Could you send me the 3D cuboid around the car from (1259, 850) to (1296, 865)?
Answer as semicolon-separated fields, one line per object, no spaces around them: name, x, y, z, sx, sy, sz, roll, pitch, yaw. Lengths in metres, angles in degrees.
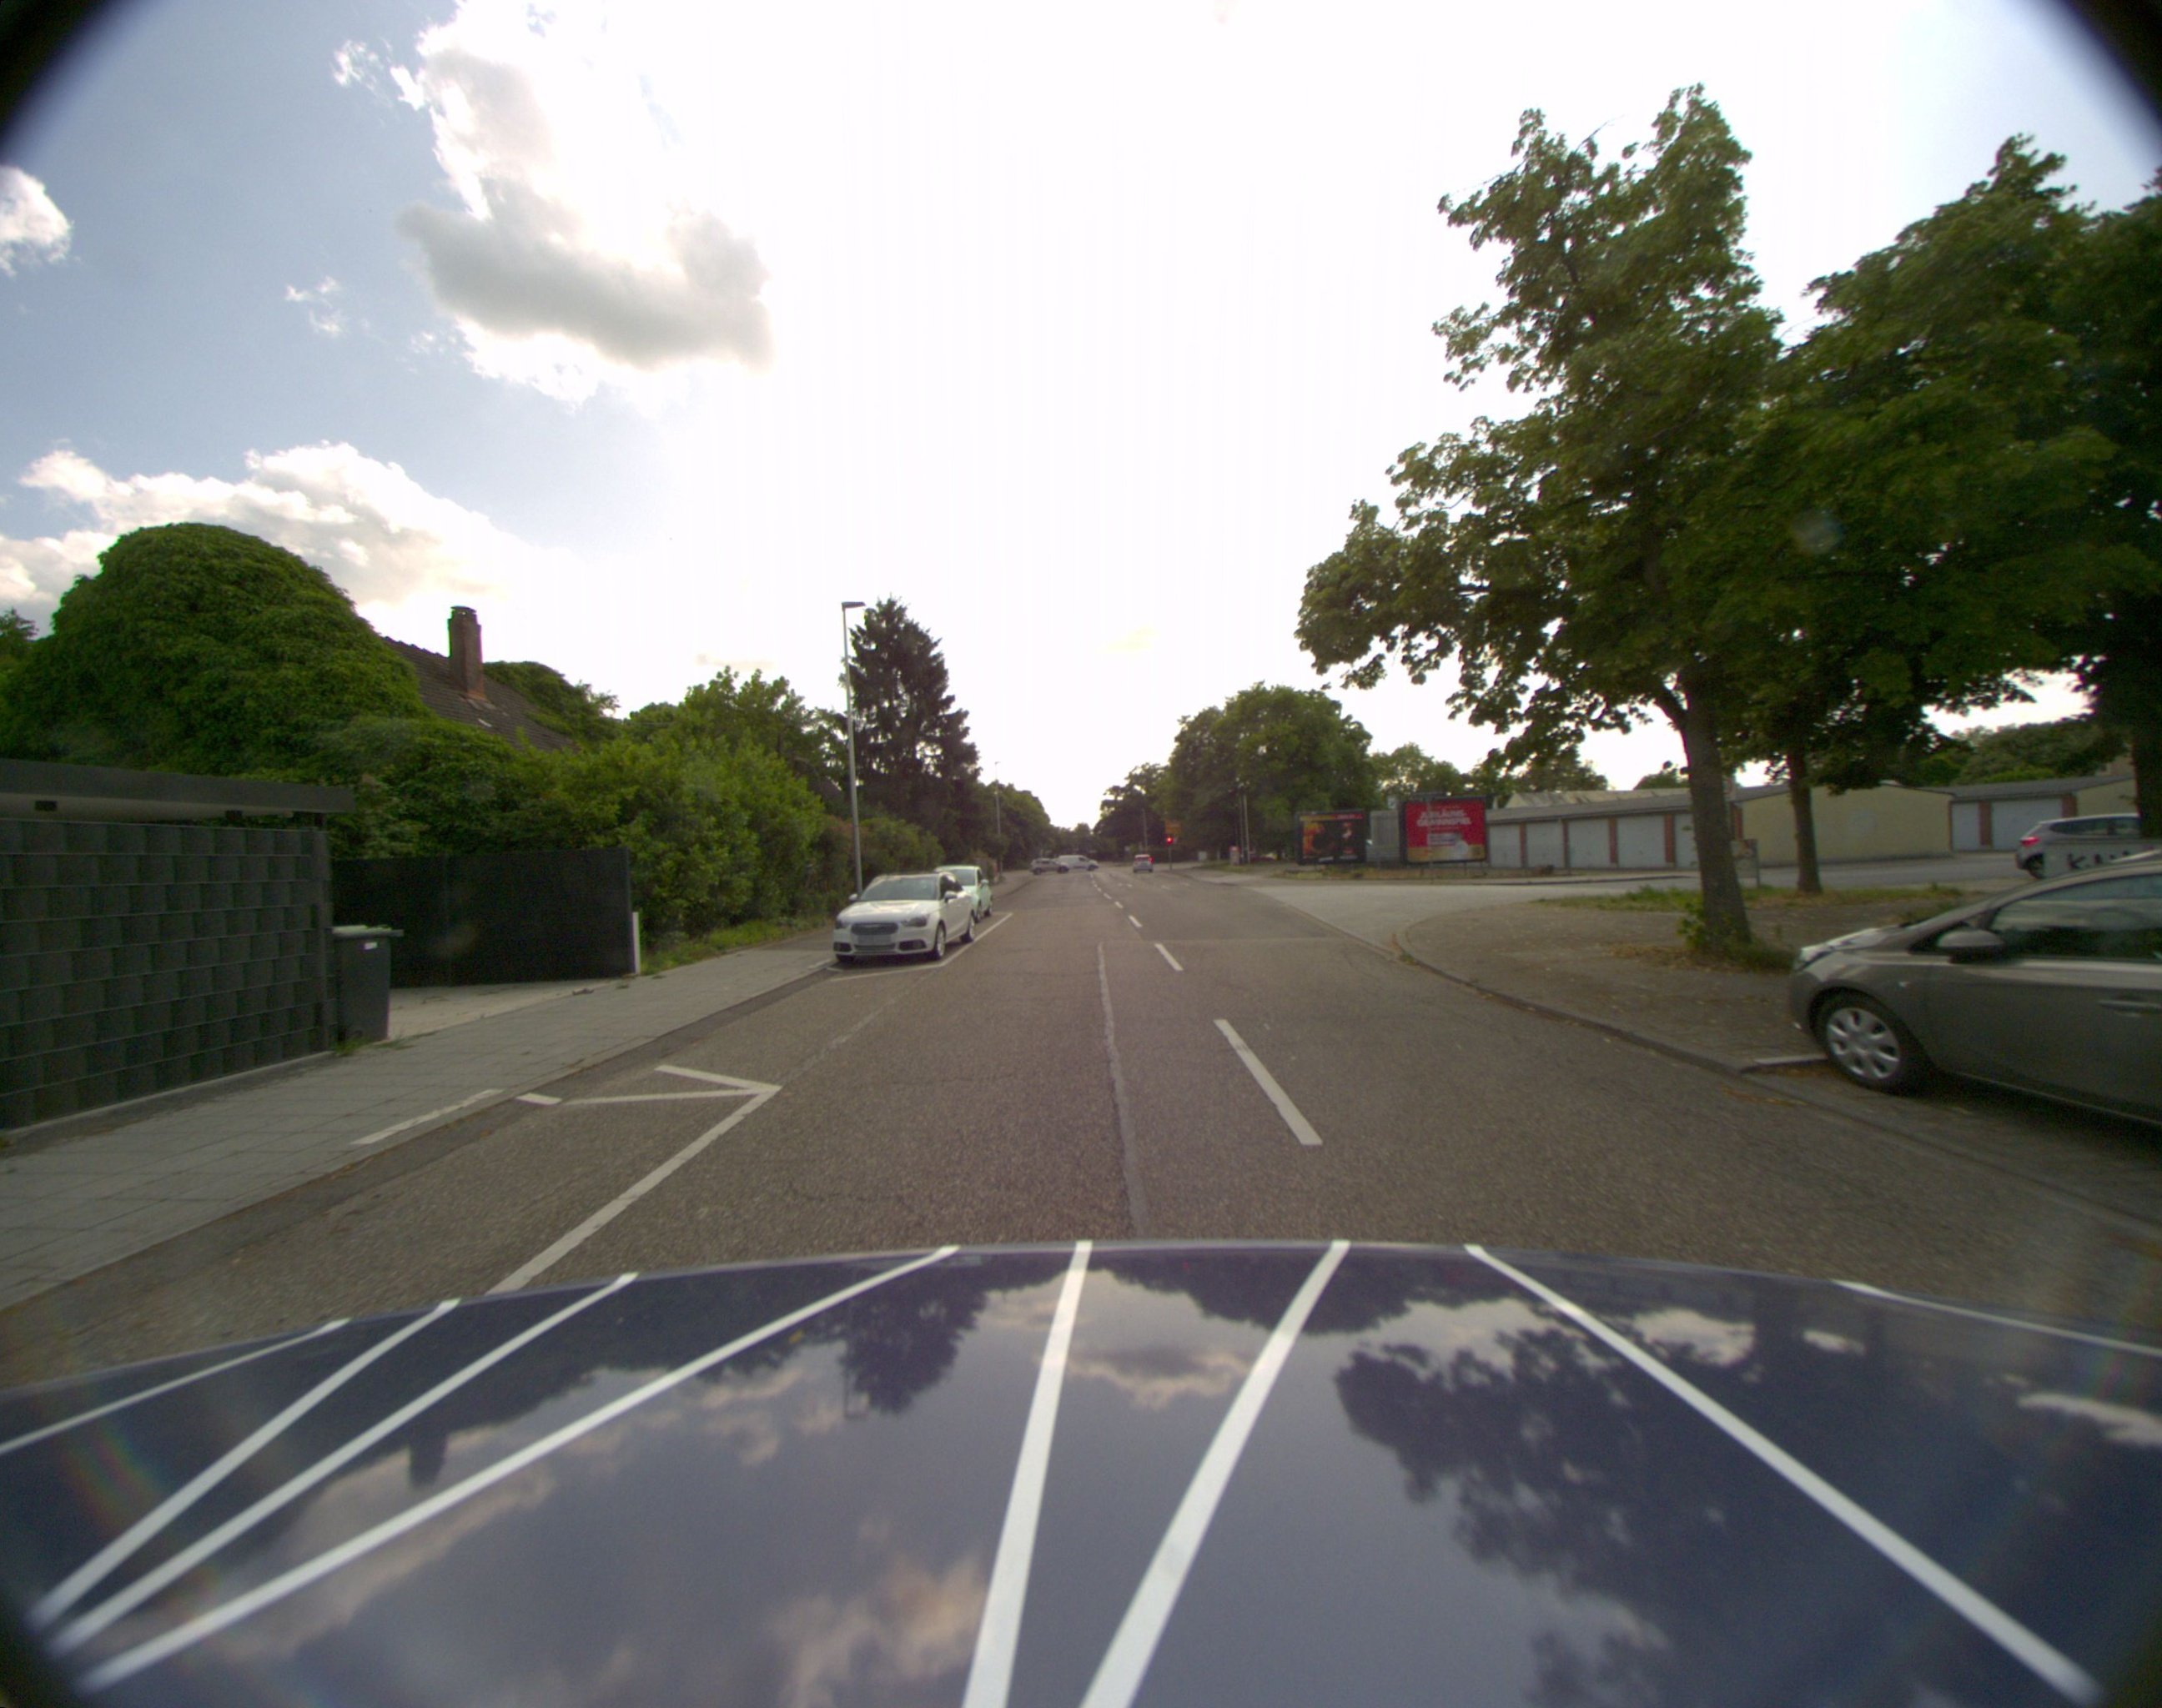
car;26.490;0.448;102.604;4.530;1.767;1.729;-3;0;5

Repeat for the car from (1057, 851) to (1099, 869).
car;-0.324;0.688;87.669;4.536;1.941;1.727;-3;0;-11

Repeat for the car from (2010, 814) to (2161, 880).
car;26.039;-0.173;18.529;1.653;1.528;3.896;-2;-2;-17

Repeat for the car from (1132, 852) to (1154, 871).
car;5.387;0.632;66.284;1.558;1.508;3.609;-2;0;1

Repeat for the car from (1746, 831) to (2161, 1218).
car;5.294;0.714;3.124;1.688;1.478;3.983;-5;1;3

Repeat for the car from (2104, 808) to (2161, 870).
car;28.736;-0.463;18.680;1.653;1.581;3.896;-2;-2;-17

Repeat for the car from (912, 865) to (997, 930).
car;-3.375;1.118;20.890;1.585;1.511;3.755;-2;0;1

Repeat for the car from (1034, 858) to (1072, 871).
car;-3.649;1.331;98.483;4.536;1.454;1.727;-3;0;-13

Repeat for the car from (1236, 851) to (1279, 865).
car;20.517;0.439;88.297;4.536;1.454;1.726;-2;2;-13

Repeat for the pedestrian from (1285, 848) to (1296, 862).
pedestrian;23.453;0.060;85.075;0.761;1.523;0.726;-3;0;-28

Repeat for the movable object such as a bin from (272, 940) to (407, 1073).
movable object such as a bin;-6.532;1.326;6.724;0.517;1.033;0.630;-2;1;1

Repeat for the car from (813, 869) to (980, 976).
car;-3.027;1.071;13.279;1.725;1.478;3.750;-2;0;4

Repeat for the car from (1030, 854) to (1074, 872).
car;-3.224;0.980;82.900;4.536;1.767;1.727;-3;0;-11

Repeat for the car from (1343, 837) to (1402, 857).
car;25.240;-0.574;66.003;2.156;1.586;4.556;-2;0;-23
